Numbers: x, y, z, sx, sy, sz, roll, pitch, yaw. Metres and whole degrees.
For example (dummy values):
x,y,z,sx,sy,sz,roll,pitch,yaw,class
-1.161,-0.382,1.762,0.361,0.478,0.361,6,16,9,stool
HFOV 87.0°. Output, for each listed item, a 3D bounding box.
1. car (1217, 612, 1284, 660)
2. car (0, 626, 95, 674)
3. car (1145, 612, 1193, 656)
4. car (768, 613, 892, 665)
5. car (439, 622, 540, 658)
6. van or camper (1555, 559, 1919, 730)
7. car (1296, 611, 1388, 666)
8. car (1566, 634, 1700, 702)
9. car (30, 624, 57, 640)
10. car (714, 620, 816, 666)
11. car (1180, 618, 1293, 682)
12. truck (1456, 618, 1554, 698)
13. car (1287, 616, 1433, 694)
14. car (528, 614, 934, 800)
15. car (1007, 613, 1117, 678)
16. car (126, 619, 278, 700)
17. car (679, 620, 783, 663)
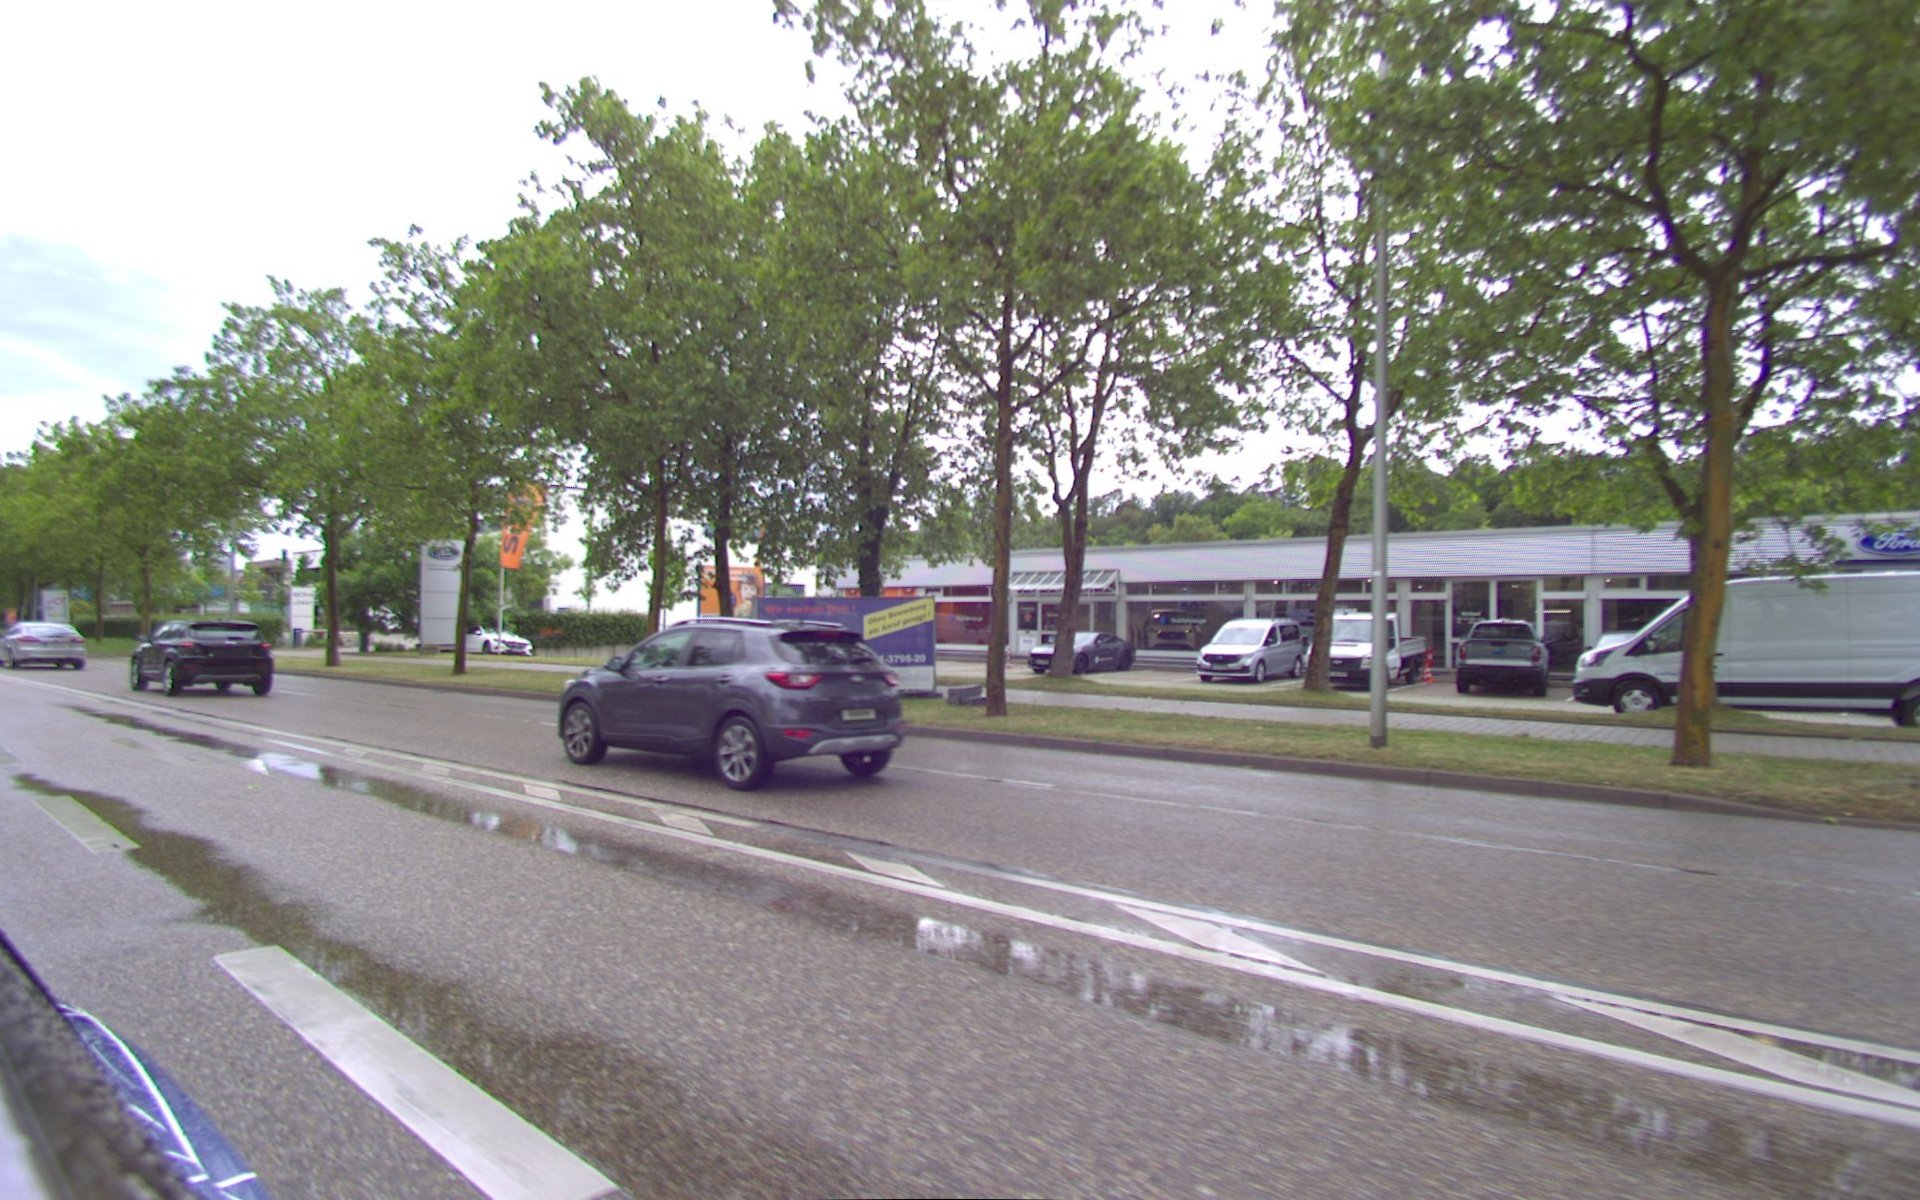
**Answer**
x,y,z,sx,sy,sz,roll,pitch,yaw,class
11.938,1.411,41.938,2.367,1.852,5.327,0,-1,13,car
-29.732,1.588,32.663,4.681,1.440,1.973,-1,-3,40,car
9.090,1.440,44.228,1.891,1.757,3.875,-1,0,10,car
-5.252,1.573,41.591,2.127,2.029,4.995,-1,-2,39,car
-21.092,1.774,45.269,5.242,1.507,2.096,-1,-2,40,car
13.502,0.671,16.432,6.394,2.489,1.974,-1,-1,39,van or camper
13.303,1.316,35.134,1.863,1.780,3.948,-1,-2,39,car
16.214,1.558,24.310,2.034,1.472,3.942,-2,-2,44,car
-99.393,3.457,109.691,3.999,1.545,1.723,-1,-4,42,car
-8.396,1.824,43.793,1.962,1.904,3.945,-2,-2,41,car
8.314,1.456,30.202,1.880,1.780,3.948,-1,-2,38,car
13.913,1.419,25.733,1.993,1.852,3.957,-1,-2,31,truck
11.118,1.443,27.890,2.412,1.918,5.325,-1,-2,37,car
-2.382,0.914,9.986,4.175,1.473,1.650,-1,-3,38,car
3.471,1.498,33.929,1.880,2.029,3.948,-1,-2,38,car
-15.892,1.211,21.160,3.856,1.543,1.744,-1,-4,41,car
-10.169,1.812,45.152,2.065,1.827,4.082,-2,-2,41,car
